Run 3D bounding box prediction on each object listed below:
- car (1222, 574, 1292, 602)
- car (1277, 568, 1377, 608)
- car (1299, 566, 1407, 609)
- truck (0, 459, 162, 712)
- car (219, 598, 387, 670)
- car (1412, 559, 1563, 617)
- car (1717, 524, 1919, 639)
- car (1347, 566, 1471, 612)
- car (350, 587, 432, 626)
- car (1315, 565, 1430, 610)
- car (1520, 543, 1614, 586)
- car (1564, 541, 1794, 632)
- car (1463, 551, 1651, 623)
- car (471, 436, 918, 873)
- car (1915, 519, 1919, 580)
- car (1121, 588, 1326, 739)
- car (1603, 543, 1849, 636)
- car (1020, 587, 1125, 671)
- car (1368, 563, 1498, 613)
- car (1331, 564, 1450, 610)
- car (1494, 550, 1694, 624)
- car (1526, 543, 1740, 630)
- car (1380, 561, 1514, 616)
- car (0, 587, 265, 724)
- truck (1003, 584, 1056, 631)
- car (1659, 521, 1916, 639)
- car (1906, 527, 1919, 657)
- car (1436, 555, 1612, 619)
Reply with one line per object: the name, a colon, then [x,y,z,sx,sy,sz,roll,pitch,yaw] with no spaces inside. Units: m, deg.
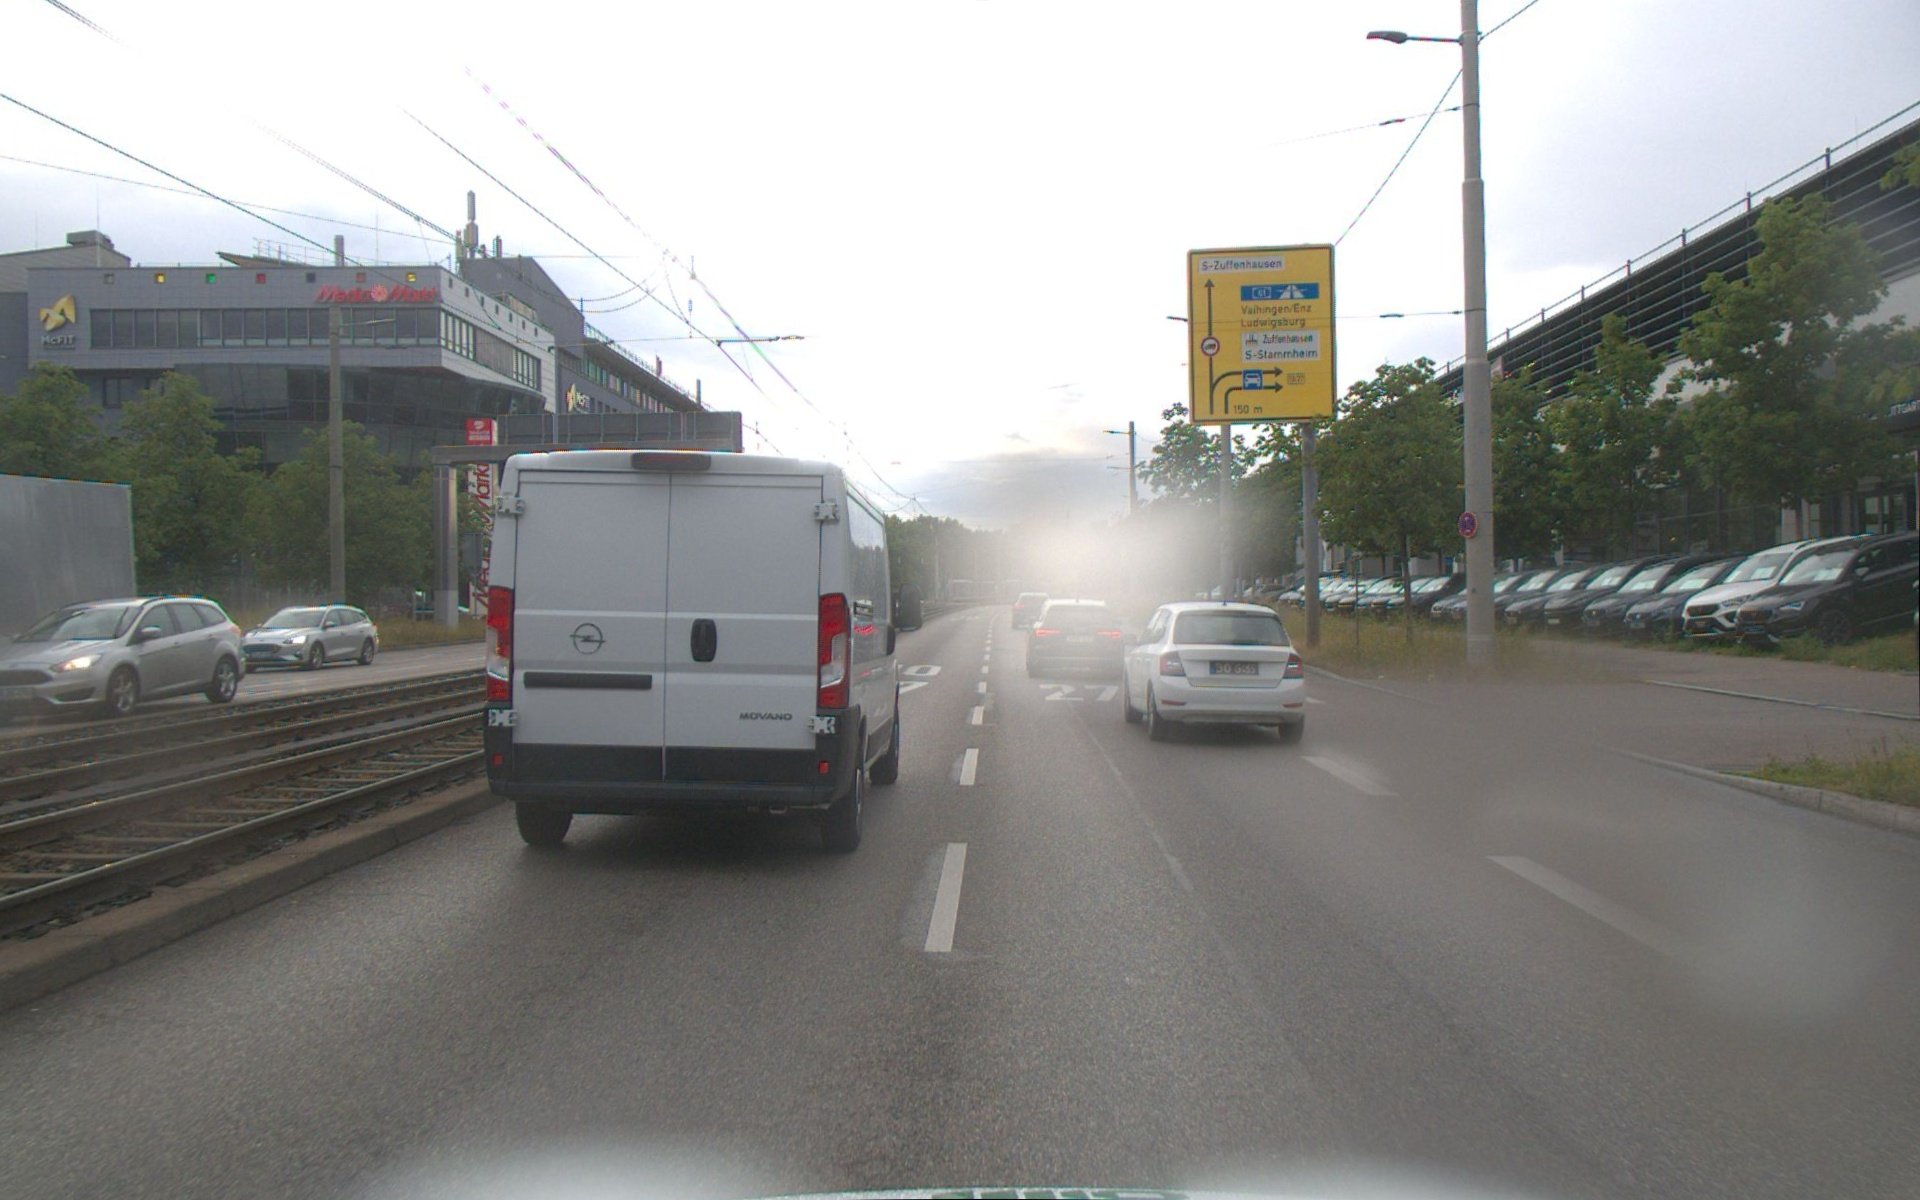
car: [18.158,-0.737,101.104,4.047,1.491,1.729,-2,-1,-32]
car: [16.536,-0.526,74.554,4.087,1.589,1.855,-3,0,-25]
car: [16.356,-0.516,68.857,4.084,1.597,1.813,-3,0,-24]
truck: [-14.280,-0.144,22.900,2.671,3.416,7.154,-3,1,1]
car: [-15.413,0.756,39.083,1.857,1.514,4.426,-2,1,5]
car: [15.873,-0.357,49.838,3.971,1.528,1.683,-3,0,-10]
car: [15.783,-0.366,28.958,4.301,1.821,1.873,-3,0,-13]
car: [16.449,-0.415,60.614,4.076,1.484,1.784,-3,0,-19]
car: [-31.900,0.355,92.829,3.909,2.049,1.998,-1,0,-5]
car: [16.456,-0.509,66.038,4.081,1.597,1.897,-3,0,-22]
car: [30.214,-1.734,82.340,3.943,2.010,1.945,-1,0,1]
car: [15.963,-0.304,36.788,4.405,1.782,1.817,-3,0,-11]
car: [16.091,-0.348,44.651,4.404,1.692,1.817,-3,0,-10]
car: [-1.448,0.249,11.127,2.047,2.234,5.062,1,1,1]
car: [24.674,-1.252,39.294,1.743,1.498,3.899,-1,1,0]
car: [2.865,0.637,18.700,1.711,1.483,3.671,1,1,0]
car: [15.840,-0.225,34.262,4.408,1.666,1.815,-3,0,-13]
car: [2.079,0.496,31.408,1.752,1.474,4.000,1,1,1]
car: [16.527,-0.417,57.816,4.076,1.561,1.784,-3,0,-19]
car: [16.474,-0.502,63.313,4.076,1.554,1.822,-3,0,-19]
car: [16.123,-0.333,42.150,4.401,1.647,1.818,-3,0,-8]
car: [16.023,-0.319,39.474,4.405,1.827,1.817,-3,0,-11]
car: [16.153,-0.380,54.860,3.982,1.603,1.724,-3,0,-19]
car: [-11.086,0.664,21.730,1.768,1.525,4.443,-4,1,3]
truck: [2.821,0.268,67.884,1.953,1.822,4.414,-1,0,0]
car: [15.899,-0.395,31.795,4.418,2.026,1.811,-3,0,-19]
car: [15.764,-0.246,25.265,1.841,1.847,4.377,-2,2,35]
car: [16.132,-0.373,47.401,4.404,1.596,1.817,-3,0,-10]
